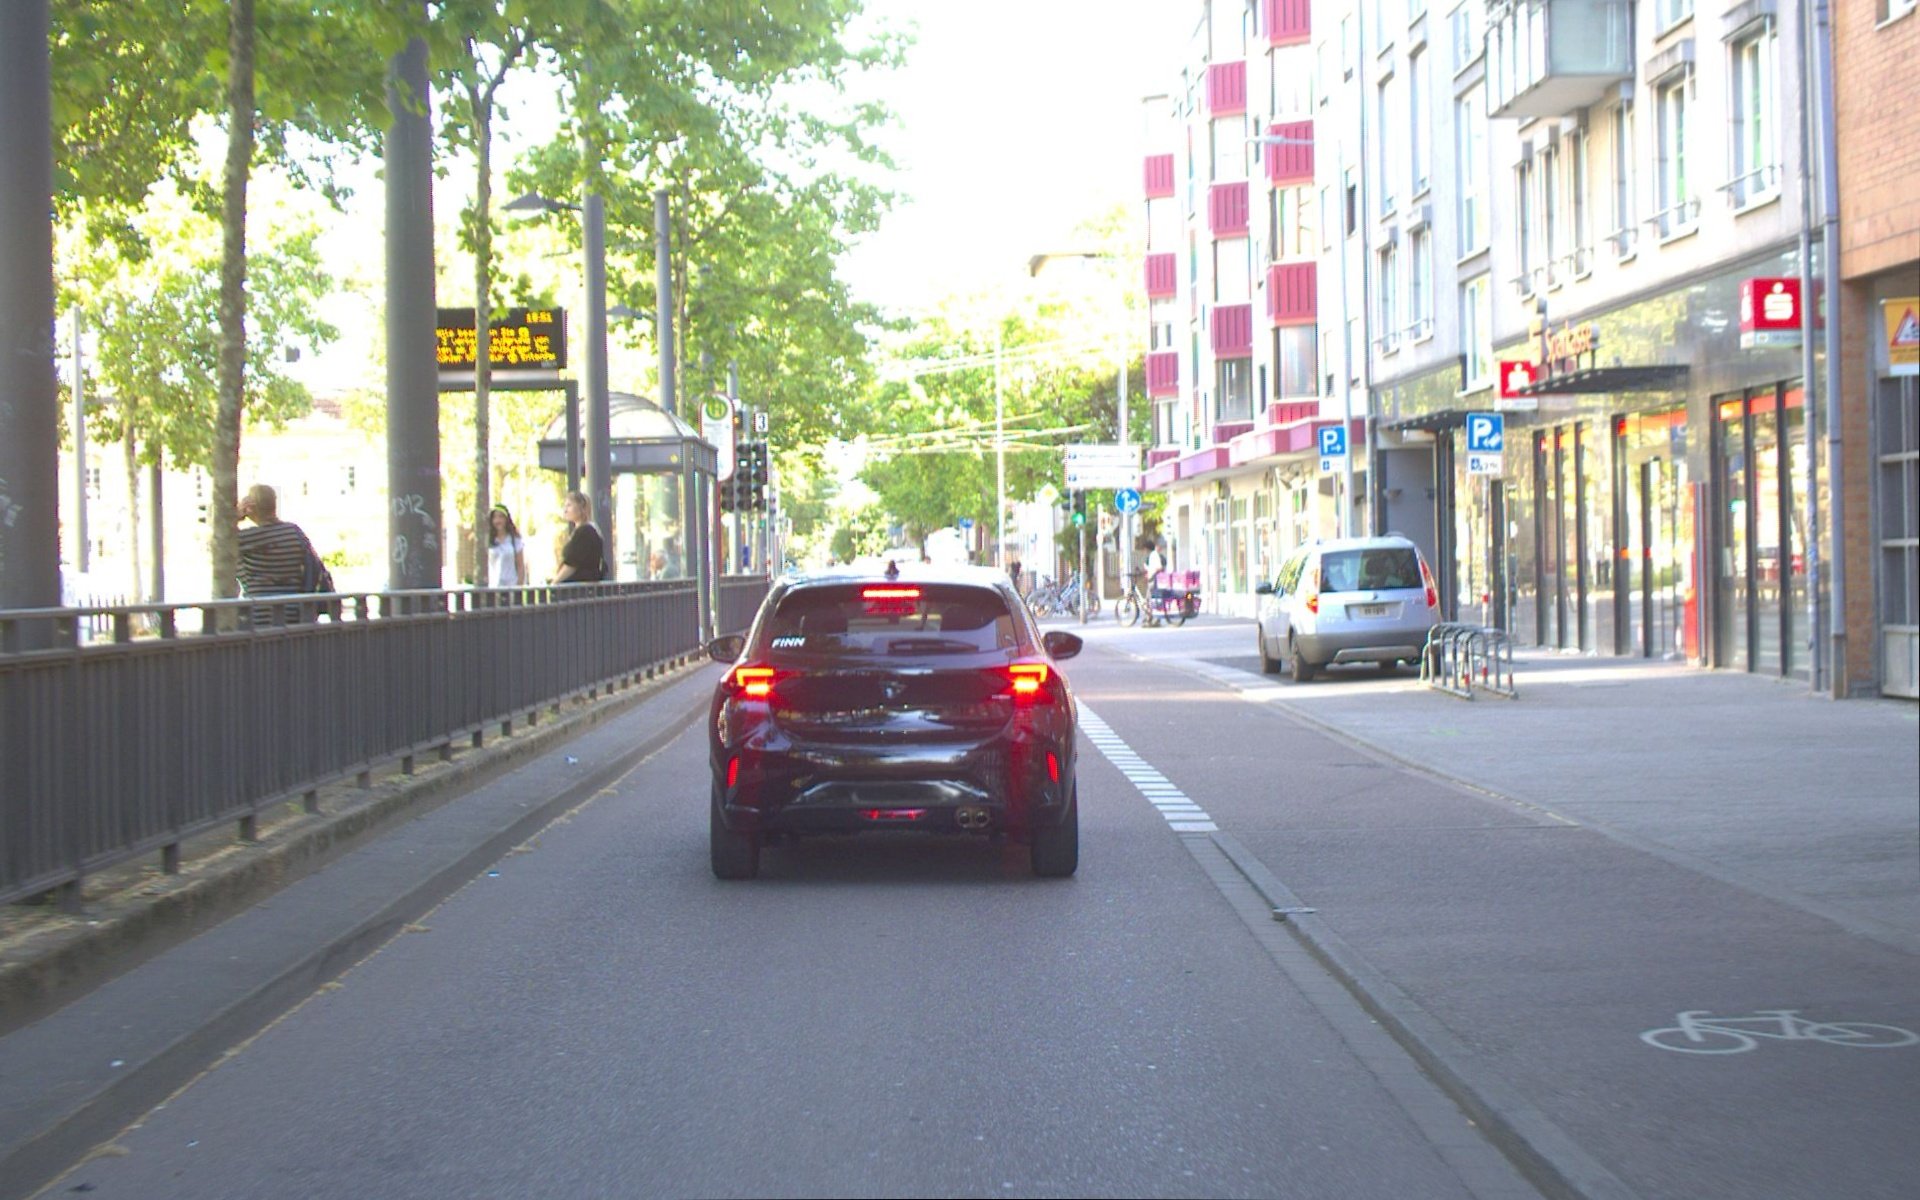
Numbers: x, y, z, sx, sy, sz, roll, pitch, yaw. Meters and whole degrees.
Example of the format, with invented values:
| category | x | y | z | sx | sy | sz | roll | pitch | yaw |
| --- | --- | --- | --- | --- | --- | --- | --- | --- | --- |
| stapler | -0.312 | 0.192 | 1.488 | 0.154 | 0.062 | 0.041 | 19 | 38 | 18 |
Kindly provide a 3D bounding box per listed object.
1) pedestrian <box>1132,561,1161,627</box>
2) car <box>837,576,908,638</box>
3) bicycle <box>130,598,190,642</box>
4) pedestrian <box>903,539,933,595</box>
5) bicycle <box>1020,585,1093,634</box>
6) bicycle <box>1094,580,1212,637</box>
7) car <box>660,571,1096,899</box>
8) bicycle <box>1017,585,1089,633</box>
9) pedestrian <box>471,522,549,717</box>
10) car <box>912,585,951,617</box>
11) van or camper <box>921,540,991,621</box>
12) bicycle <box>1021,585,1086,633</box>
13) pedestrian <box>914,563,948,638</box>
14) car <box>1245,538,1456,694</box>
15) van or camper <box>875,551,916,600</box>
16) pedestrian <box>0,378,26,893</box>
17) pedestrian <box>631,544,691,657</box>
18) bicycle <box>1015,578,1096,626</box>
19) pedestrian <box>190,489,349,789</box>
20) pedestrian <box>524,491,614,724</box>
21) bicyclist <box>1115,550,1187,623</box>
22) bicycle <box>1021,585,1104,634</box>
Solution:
| category | x | y | z | sx | sy | sz | roll | pitch | yaw |
| --- | --- | --- | --- | --- | --- | --- | --- | --- | --- |
| pedestrian | 5.257 | -0.173 | 96.986 | 0.722 | 1.851 | 0.801 | -1 | 0 | -2 |
| car | -2.302 | 0.180 | 91.552 | 1.832 | 1.617 | 4.284 | 0 | 0 | -1 |
| bicycle | -17.943 | 0.447 | 77.146 | 0.813 | 0.943 | 1.725 | -1 | 0 | 4 |
| pedestrian | -1.553 | -1.216 | 126.491 | 1.036 | 2.017 | 1.212 | -1 | 0 | -3 |
| bicycle | 2.444 | 0.241 | 86.851 | 1.831 | 1.216 | 0.496 | -1 | 0 | 2 |
| bicycle | 4.118 | 0.189 | 73.610 | 0.960 | 1.179 | 2.597 | -1 | 0 | -41 |
| car | -0.389 | 0.581 | 17.268 | 1.905 | 1.420 | 4.215 | -1 | 0 | -1 |
| bicycle | 2.393 | 0.241 | 88.168 | 1.802 | 1.195 | 0.545 | -1 | -1 | 3 |
| pedestrian | -4.349 | 0.183 | 33.269 | 0.645 | 1.865 | 0.753 | 0 | 0 | 0 |
| car | -1.427 | 0.043 | 169.497 | 1.790 | 1.505 | 3.874 | -3 | 0 | -1 |
| van or camper | -0.192 | -0.780 | 142.489 | 2.375 | 3.114 | 7.551 | -4 | 0 | -3 |
| bicycle | 2.382 | 0.235 | 87.421 | 1.623 | 1.195 | 0.496 | -1 | 0 | 3 |
| pedestrian | -0.679 | 0.008 | 81.361 | 0.734 | 1.741 | 0.712 | -1 | 0 | 4 |
| car | 4.511 | 0.168 | 40.254 | 1.832 | 1.617 | 4.284 | -4 | 0 | -1 |
| van or camper | -4.032 | -1.508 | 216.030 | 2.486 | 2.983 | 5.434 | 1 | 0 | -1 |
| pedestrian | -3.732 | 0.120 | 12.163 | 0.706 | 1.796 | 0.827 | -1 | 0 | -8 |
| pedestrian | -3.546 | 0.005 | 40.818 | 0.626 | 1.315 | 0.801 | -1 | 0 | 0 |
| bicycle | 2.359 | 0.050 | 85.023 | 1.939 | 1.166 | 0.572 | -1 | 0 | -4 |
| pedestrian | -3.980 | 0.218 | 19.872 | 0.729 | 1.696 | 0.863 | 0 | 0 | 1 |
| pedestrian | -3.200 | 0.057 | 28.210 | 0.646 | 1.880 | 0.661 | -1 | 0 | -1 |
| bicyclist | 4.091 | -0.295 | 73.644 | 1.057 | 1.535 | 1.078 | -1 | 0 | -41 |
| bicycle | 2.564 | 0.233 | 85.985 | 1.976 | 1.195 | 0.591 | -1 | 0 | -6 |
